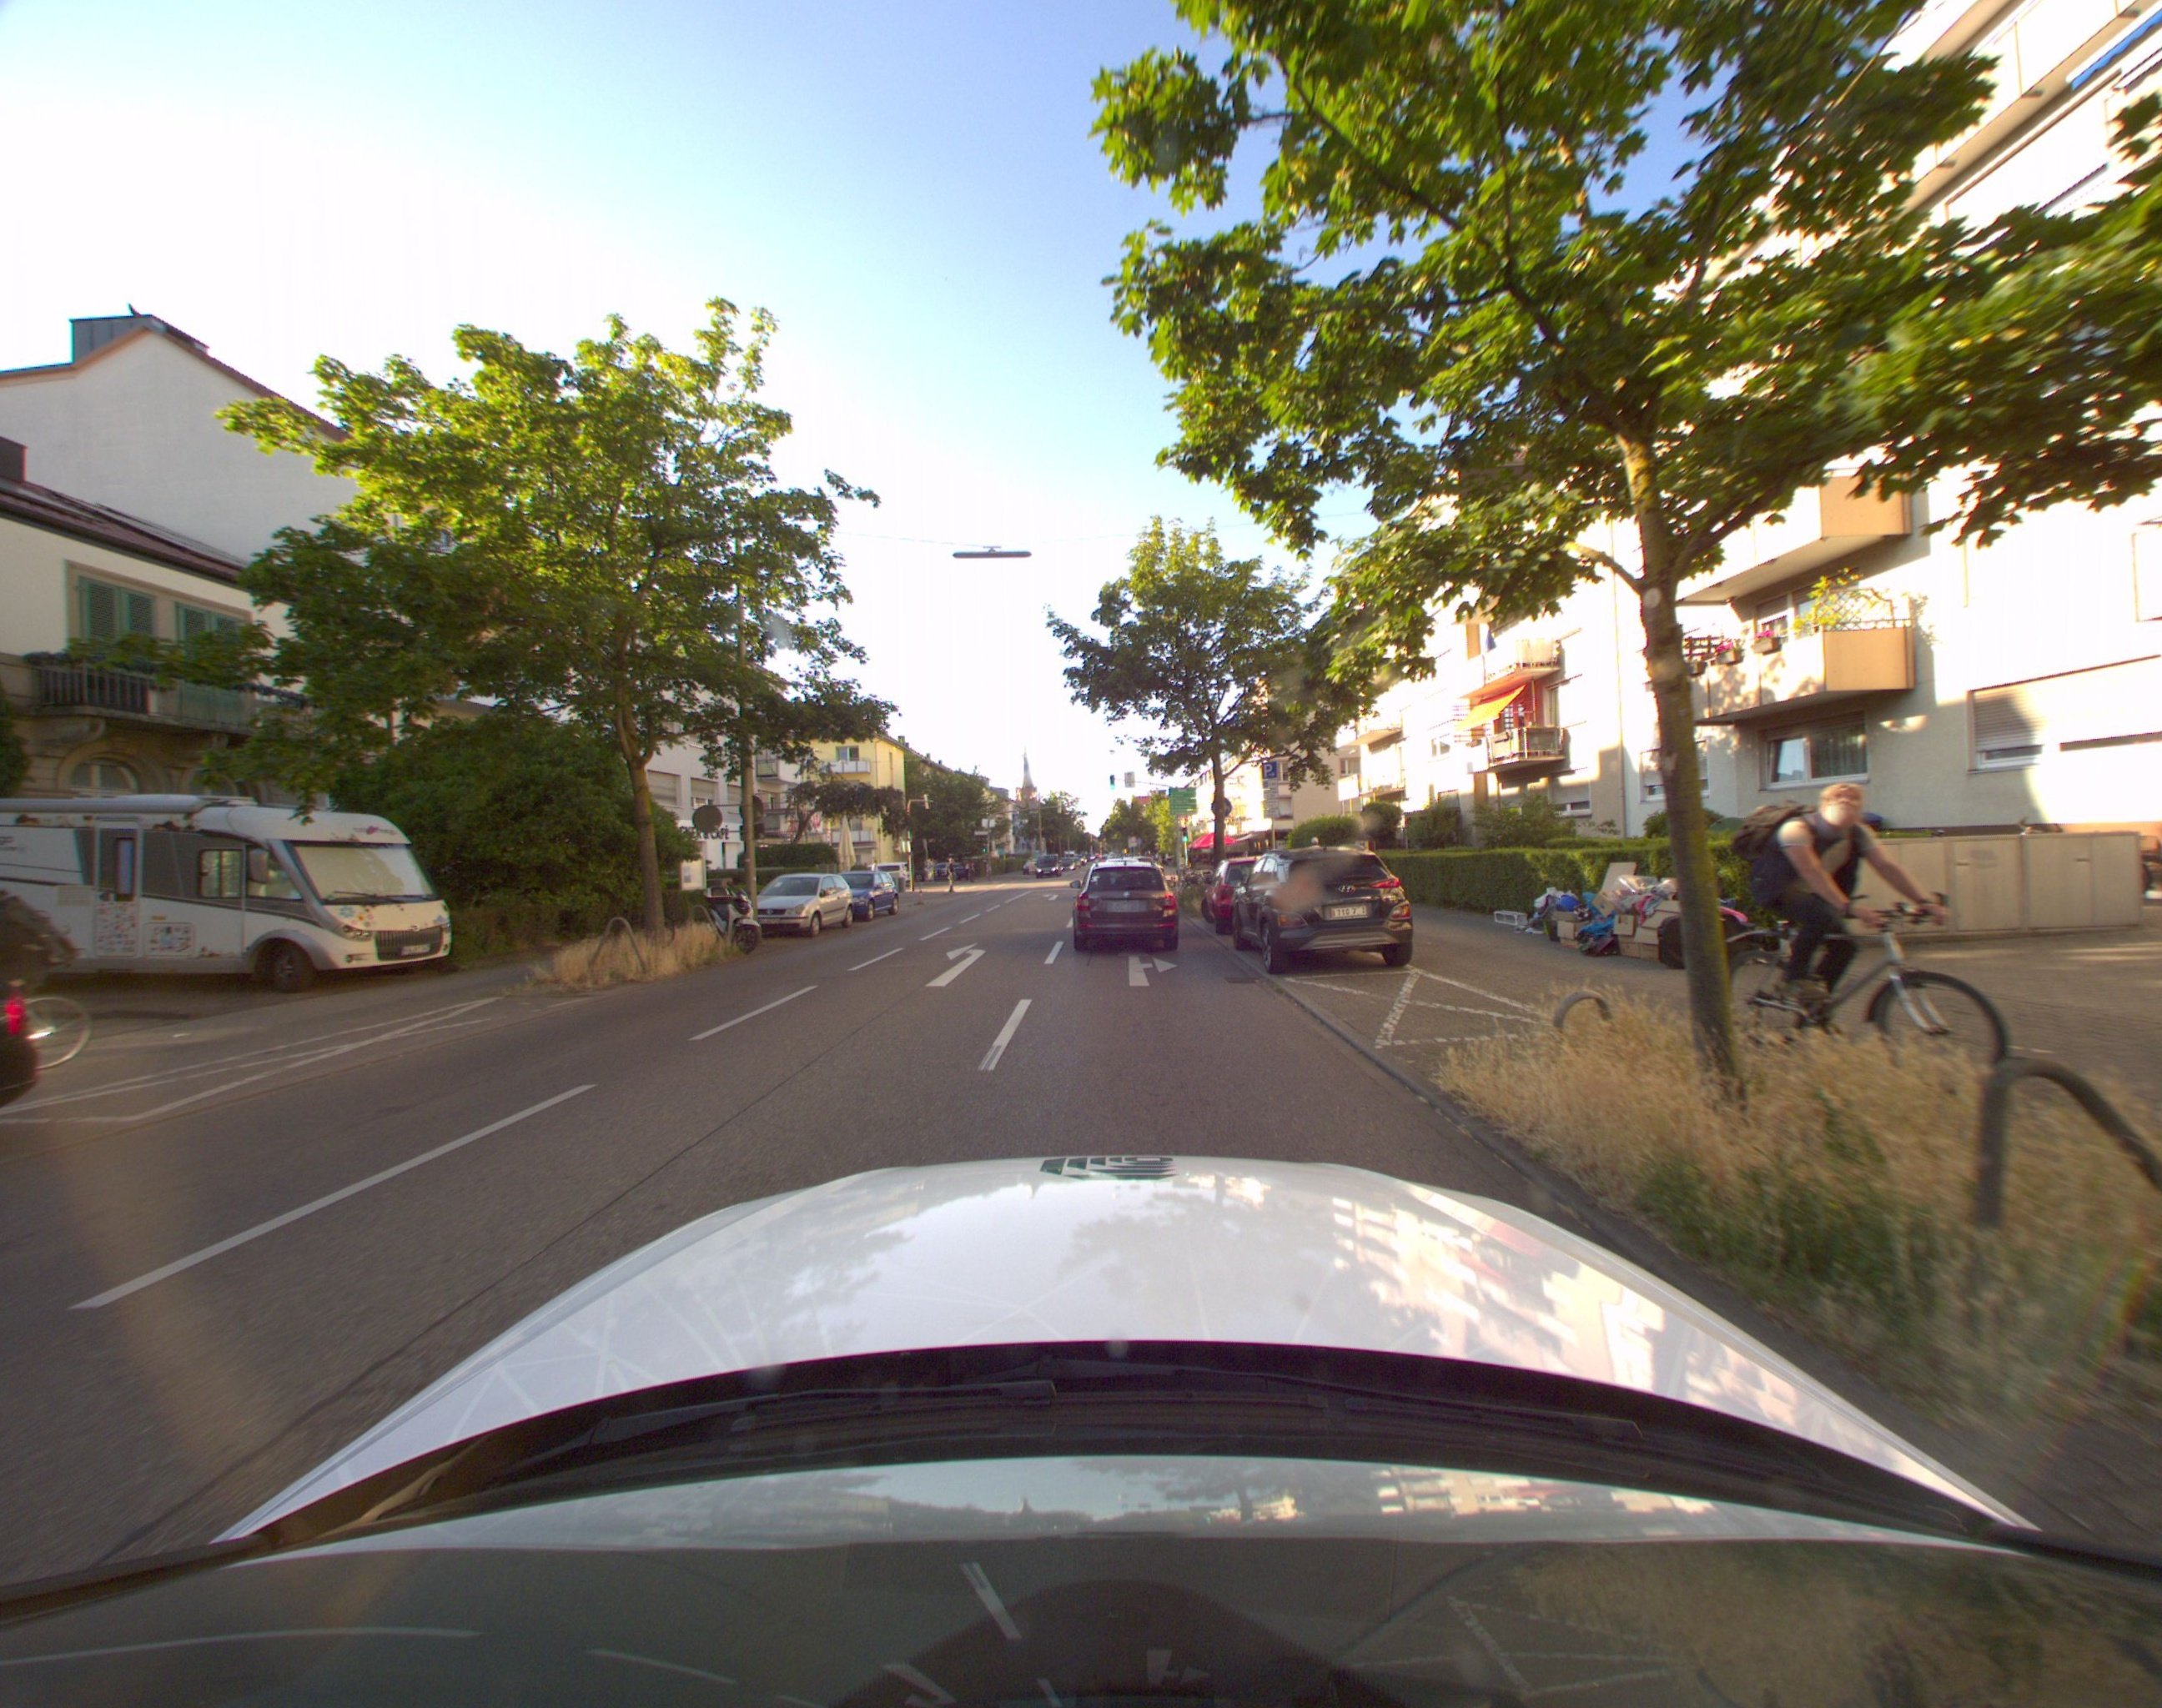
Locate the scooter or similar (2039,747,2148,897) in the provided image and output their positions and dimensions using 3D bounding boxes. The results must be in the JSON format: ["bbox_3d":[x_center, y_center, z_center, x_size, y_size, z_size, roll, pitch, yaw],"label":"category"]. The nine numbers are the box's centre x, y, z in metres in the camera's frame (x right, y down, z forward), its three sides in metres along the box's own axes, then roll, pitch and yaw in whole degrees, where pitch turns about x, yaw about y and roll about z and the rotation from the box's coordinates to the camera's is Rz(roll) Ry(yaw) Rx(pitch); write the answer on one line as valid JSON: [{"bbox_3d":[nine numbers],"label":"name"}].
[{"bbox_3d":[14.209,-0.437,11.448,0.612,2.013,0.669,-3,0,1],"label":"scooter or similar"}]

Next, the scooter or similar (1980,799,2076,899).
[{"bbox_3d":[14.336,-0.075,12.346,0.612,1.442,0.669,-3,0,1],"label":"scooter or similar"}]

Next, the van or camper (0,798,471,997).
[{"bbox_3d":[-13.715,0.609,12.591,6.774,2.773,2.352,0,0,0],"label":"van or camper"}]

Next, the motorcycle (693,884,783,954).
[{"bbox_3d":[-6.906,1.282,16.347,2.028,1.265,0.772,-3,-1,40],"label":"motorcycle"}]

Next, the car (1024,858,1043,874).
[{"bbox_3d":[-4.788,1.183,82.432,1.517,1.457,3.586,-3,0,2],"label":"car"}]

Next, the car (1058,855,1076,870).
[{"bbox_3d":[-1.639,0.970,96.110,1.823,1.579,4.002,-3,0,2],"label":"car"}]

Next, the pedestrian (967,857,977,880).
[{"bbox_3d":[-8.513,1.117,63.465,0.613,1.797,0.504,-3,0,2],"label":"pedestrian"}]

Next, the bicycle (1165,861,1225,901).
[{"bbox_3d":[3.709,0.876,26.572,1.824,1.157,0.685,-5,-1,8],"label":"bicycle"}]

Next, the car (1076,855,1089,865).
[{"bbox_3d":[0.261,0.954,126.416,1.780,1.571,4.003,-1,0,3],"label":"car"}]

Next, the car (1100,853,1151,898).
[{"bbox_3d":[1.647,0.760,30.387,1.730,1.571,4.003,-1,0,3],"label":"car"}]

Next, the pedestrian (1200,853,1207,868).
[{"bbox_3d":[10.842,0.547,72.043,0.497,1.302,0.507,-2,0,-1],"label":"pedestrian"}]

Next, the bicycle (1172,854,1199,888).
[{"bbox_3d":[3.691,0.593,28.878,0.501,1.147,1.956,-5,-1,-4],"label":"bicycle"}]

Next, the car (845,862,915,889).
[{"bbox_3d":[-14.939,1.573,60.602,4.617,1.812,1.862,-3,0,1],"label":"car"}]

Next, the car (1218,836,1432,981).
[{"bbox_3d":[3.220,0.651,11.635,1.849,1.581,4.014,-4,0,1],"label":"car"}]

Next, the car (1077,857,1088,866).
[{"bbox_3d":[0.296,1.308,143.247,1.697,1.550,4.004,-3,0,2],"label":"car"}]

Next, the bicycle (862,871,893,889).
[{"bbox_3d":[-13.302,1.713,53.295,1.898,1.071,0.717,-2,-1,-8],"label":"bicycle"}]

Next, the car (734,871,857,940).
[{"bbox_3d":[-6.911,1.200,20.125,1.587,1.470,3.805,0,0,2],"label":"car"}]

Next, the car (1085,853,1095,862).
[{"bbox_3d":[2.133,0.744,190.621,1.986,2.013,4.002,-3,0,2],"label":"car"}]

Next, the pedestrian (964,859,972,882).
[{"bbox_3d":[-8.894,1.278,63.871,0.448,1.797,0.504,-3,0,2],"label":"pedestrian"}]

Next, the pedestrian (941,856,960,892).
[{"bbox_3d":[-7.316,1.118,45.673,0.777,1.987,0.821,-3,0,2],"label":"pedestrian"}]

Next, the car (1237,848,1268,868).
[{"bbox_3d":[13.880,0.293,66.167,1.769,1.486,4.003,-3,0,3],"label":"car"}]

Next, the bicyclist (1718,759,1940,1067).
[{"bbox_3d":[4.732,0.346,5.217,0.579,1.789,0.852,-2,0,2],"label":"bicyclist"}]

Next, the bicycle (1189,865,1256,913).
[{"bbox_3d":[3.508,0.866,20.280,1.564,1.104,0.392,-2,0,2],"label":"bicycle"}]

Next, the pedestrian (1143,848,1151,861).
[{"bbox_3d":[8.810,0.118,108.213,0.668,1.704,0.806,-3,-1,28],"label":"pedestrian"}]

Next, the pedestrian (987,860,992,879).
[{"bbox_3d":[-7.291,1.225,64.851,0.299,1.504,0.641,-2,0,3],"label":"pedestrian"}]

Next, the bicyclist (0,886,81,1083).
[{"bbox_3d":[-9.471,1.135,7.222,0.467,1.663,0.552,-2,0,1],"label":"bicyclist"}]

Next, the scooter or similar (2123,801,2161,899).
[{"bbox_3d":[14.343,-0.069,10.614,0.612,1.272,0.669,-3,0,1],"label":"scooter or similar"}]

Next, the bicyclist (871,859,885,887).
[{"bbox_3d":[-13.301,1.232,53.313,0.738,1.823,0.652,-3,0,-7],"label":"bicyclist"}]

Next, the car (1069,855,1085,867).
[{"bbox_3d":[-0.520,1.012,114.128,1.985,1.610,4.003,-3,0,3],"label":"car"}]

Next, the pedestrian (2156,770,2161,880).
[{"bbox_3d":[7.287,0.267,4.852,0.691,1.640,0.757,-3,0,-1],"label":"pedestrian"}]

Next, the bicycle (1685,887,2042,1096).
[{"bbox_3d":[4.747,0.754,5.153,0.514,0.987,1.832,-2,0,2],"label":"bicycle"}]

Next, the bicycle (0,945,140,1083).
[{"bbox_3d":[-9.468,1.434,7.190,0.484,1.064,1.534,-2,0,1],"label":"bicycle"}]

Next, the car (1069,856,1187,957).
[{"bbox_3d":[0.776,0.806,14.598,1.766,1.489,4.312,-1,0,1],"label":"car"}]

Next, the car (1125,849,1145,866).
[{"bbox_3d":[5.752,0.405,86.472,1.984,1.772,4.005,-1,0,5],"label":"car"}]

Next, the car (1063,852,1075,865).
[{"bbox_3d":[-2.304,0.843,158.997,1.986,2.478,4.002,-3,0,2],"label":"car"}]

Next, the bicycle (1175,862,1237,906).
[{"bbox_3d":[3.617,0.870,23.612,1.677,1.107,0.518,-5,-1,8],"label":"bicycle"}]

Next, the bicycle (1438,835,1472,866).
[{"bbox_3d":[14.678,-0.136,31.997,0.521,1.183,1.797,-3,0,3],"label":"bicycle"}]

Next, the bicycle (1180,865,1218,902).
[{"bbox_3d":[3.626,0.895,24.901,0.613,1.051,1.583,-3,0,28],"label":"bicycle"}]

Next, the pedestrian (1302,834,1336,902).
[{"bbox_3d":[6.383,0.379,21.885,0.659,1.749,0.774,-4,-1,8],"label":"pedestrian"}]

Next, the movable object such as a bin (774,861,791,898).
[{"bbox_3d":[-11.688,0.982,31.858,0.390,1.427,0.575,-2,0,0],"label":"movable object such as a bin"}]

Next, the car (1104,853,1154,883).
[{"bbox_3d":[2.841,0.805,47.271,1.785,1.552,4.020,-3,0,19],"label":"car"}]

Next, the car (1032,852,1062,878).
[{"bbox_3d":[-2.726,0.896,66.539,1.986,1.908,4.965,-4,0,1],"label":"car"}]

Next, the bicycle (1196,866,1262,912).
[{"bbox_3d":[3.779,0.886,20.843,1.564,1.104,0.501,-2,0,2],"label":"bicycle"}]

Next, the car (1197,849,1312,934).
[{"bbox_3d":[3.458,0.683,16.901,1.696,1.450,4.018,-4,0,4],"label":"car"}]

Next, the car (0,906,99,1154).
[{"bbox_3d":[-7.673,1.111,3.280,1.860,1.494,4.519,-1,0,2],"label":"car"}]

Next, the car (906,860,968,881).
[{"bbox_3d":[-11.715,1.363,66.482,4.617,1.535,1.862,-1,0,1],"label":"car"}]

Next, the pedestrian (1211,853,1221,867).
[{"bbox_3d":[11.797,0.521,71.207,0.726,1.198,0.856,-2,0,2],"label":"pedestrian"}]

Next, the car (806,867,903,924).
[{"bbox_3d":[-6.755,1.185,24.688,1.642,1.517,4.075,-1,0,2],"label":"car"}]
